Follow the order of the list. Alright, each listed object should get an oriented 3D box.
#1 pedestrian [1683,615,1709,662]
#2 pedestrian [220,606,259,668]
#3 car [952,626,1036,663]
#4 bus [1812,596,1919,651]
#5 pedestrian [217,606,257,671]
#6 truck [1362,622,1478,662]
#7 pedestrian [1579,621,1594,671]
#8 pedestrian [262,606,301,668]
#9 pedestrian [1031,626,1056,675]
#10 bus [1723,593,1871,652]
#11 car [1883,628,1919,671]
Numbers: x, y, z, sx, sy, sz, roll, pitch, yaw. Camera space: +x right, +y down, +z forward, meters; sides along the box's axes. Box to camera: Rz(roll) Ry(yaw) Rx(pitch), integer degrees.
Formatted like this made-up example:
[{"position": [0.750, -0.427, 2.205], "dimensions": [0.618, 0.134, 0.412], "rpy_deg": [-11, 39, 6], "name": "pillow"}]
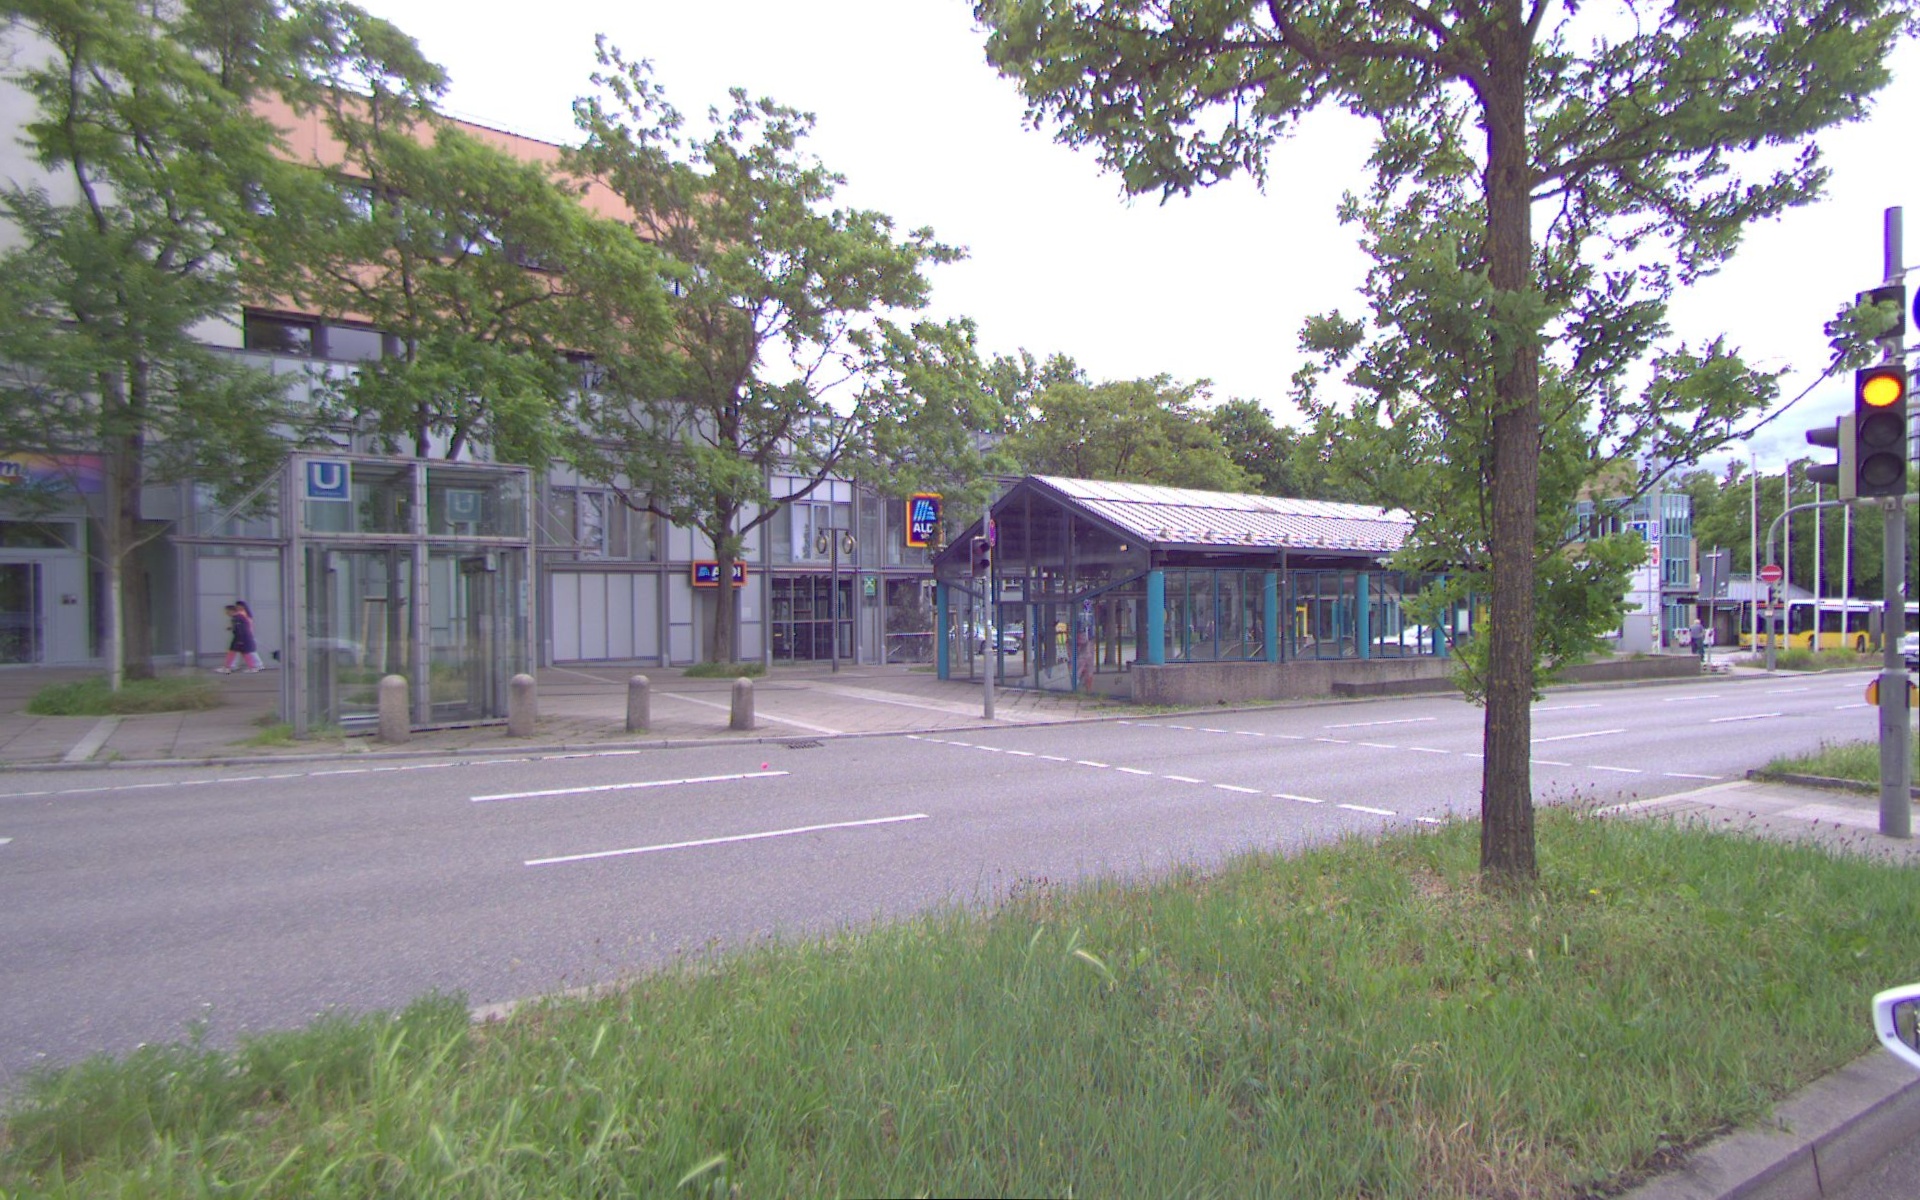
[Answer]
[{"position": [30.494, 1.605, 41.604], "dimensions": [0.677, 1.922, 0.658], "rpy_deg": [1, -1, -30], "name": "pedestrian"}, {"position": [-16.263, 0.831, 22.680], "dimensions": [0.689, 1.393, 0.578], "rpy_deg": [1, -1, -37], "name": "pedestrian"}, {"position": [1.646, 2.186, 50.380], "dimensions": [1.769, 1.710, 4.838], "rpy_deg": [1, -1, -33], "name": "car"}, {"position": [57.915, 1.538, 63.773], "dimensions": [7.771, 3.313, 2.980], "rpy_deg": [1, -1, -26], "name": "bus"}, {"position": [-15.881, 0.840, 22.071], "dimensions": [0.689, 1.393, 0.578], "rpy_deg": [1, -1, -37], "name": "pedestrian"}, {"position": [18.744, 1.683, 41.088], "dimensions": [3.919, 1.537, 2.001], "rpy_deg": [0, -1, 9], "name": "truck"}, {"position": [20.630, 1.510, 33.076], "dimensions": [0.412, 1.612, 0.356], "rpy_deg": [0, -1, 31], "name": "pedestrian"}, {"position": [-15.566, 0.854, 23.046], "dimensions": [0.689, 1.393, 0.578], "rpy_deg": [1, -1, -37], "name": "pedestrian"}, {"position": [2.903, 1.749, 34.905], "dimensions": [0.703, 1.677, 0.517], "rpy_deg": [1, -1, -37], "name": "pedestrian"}, {"position": [49.918, 1.376, 59.832], "dimensions": [10.036, 3.293, 2.980], "rpy_deg": [1, -1, -26], "name": "bus"}, {"position": [37.545, 1.910, 39.170], "dimensions": [3.316, 1.599, 1.673], "rpy_deg": [1, -1, -36], "name": "car"}]
